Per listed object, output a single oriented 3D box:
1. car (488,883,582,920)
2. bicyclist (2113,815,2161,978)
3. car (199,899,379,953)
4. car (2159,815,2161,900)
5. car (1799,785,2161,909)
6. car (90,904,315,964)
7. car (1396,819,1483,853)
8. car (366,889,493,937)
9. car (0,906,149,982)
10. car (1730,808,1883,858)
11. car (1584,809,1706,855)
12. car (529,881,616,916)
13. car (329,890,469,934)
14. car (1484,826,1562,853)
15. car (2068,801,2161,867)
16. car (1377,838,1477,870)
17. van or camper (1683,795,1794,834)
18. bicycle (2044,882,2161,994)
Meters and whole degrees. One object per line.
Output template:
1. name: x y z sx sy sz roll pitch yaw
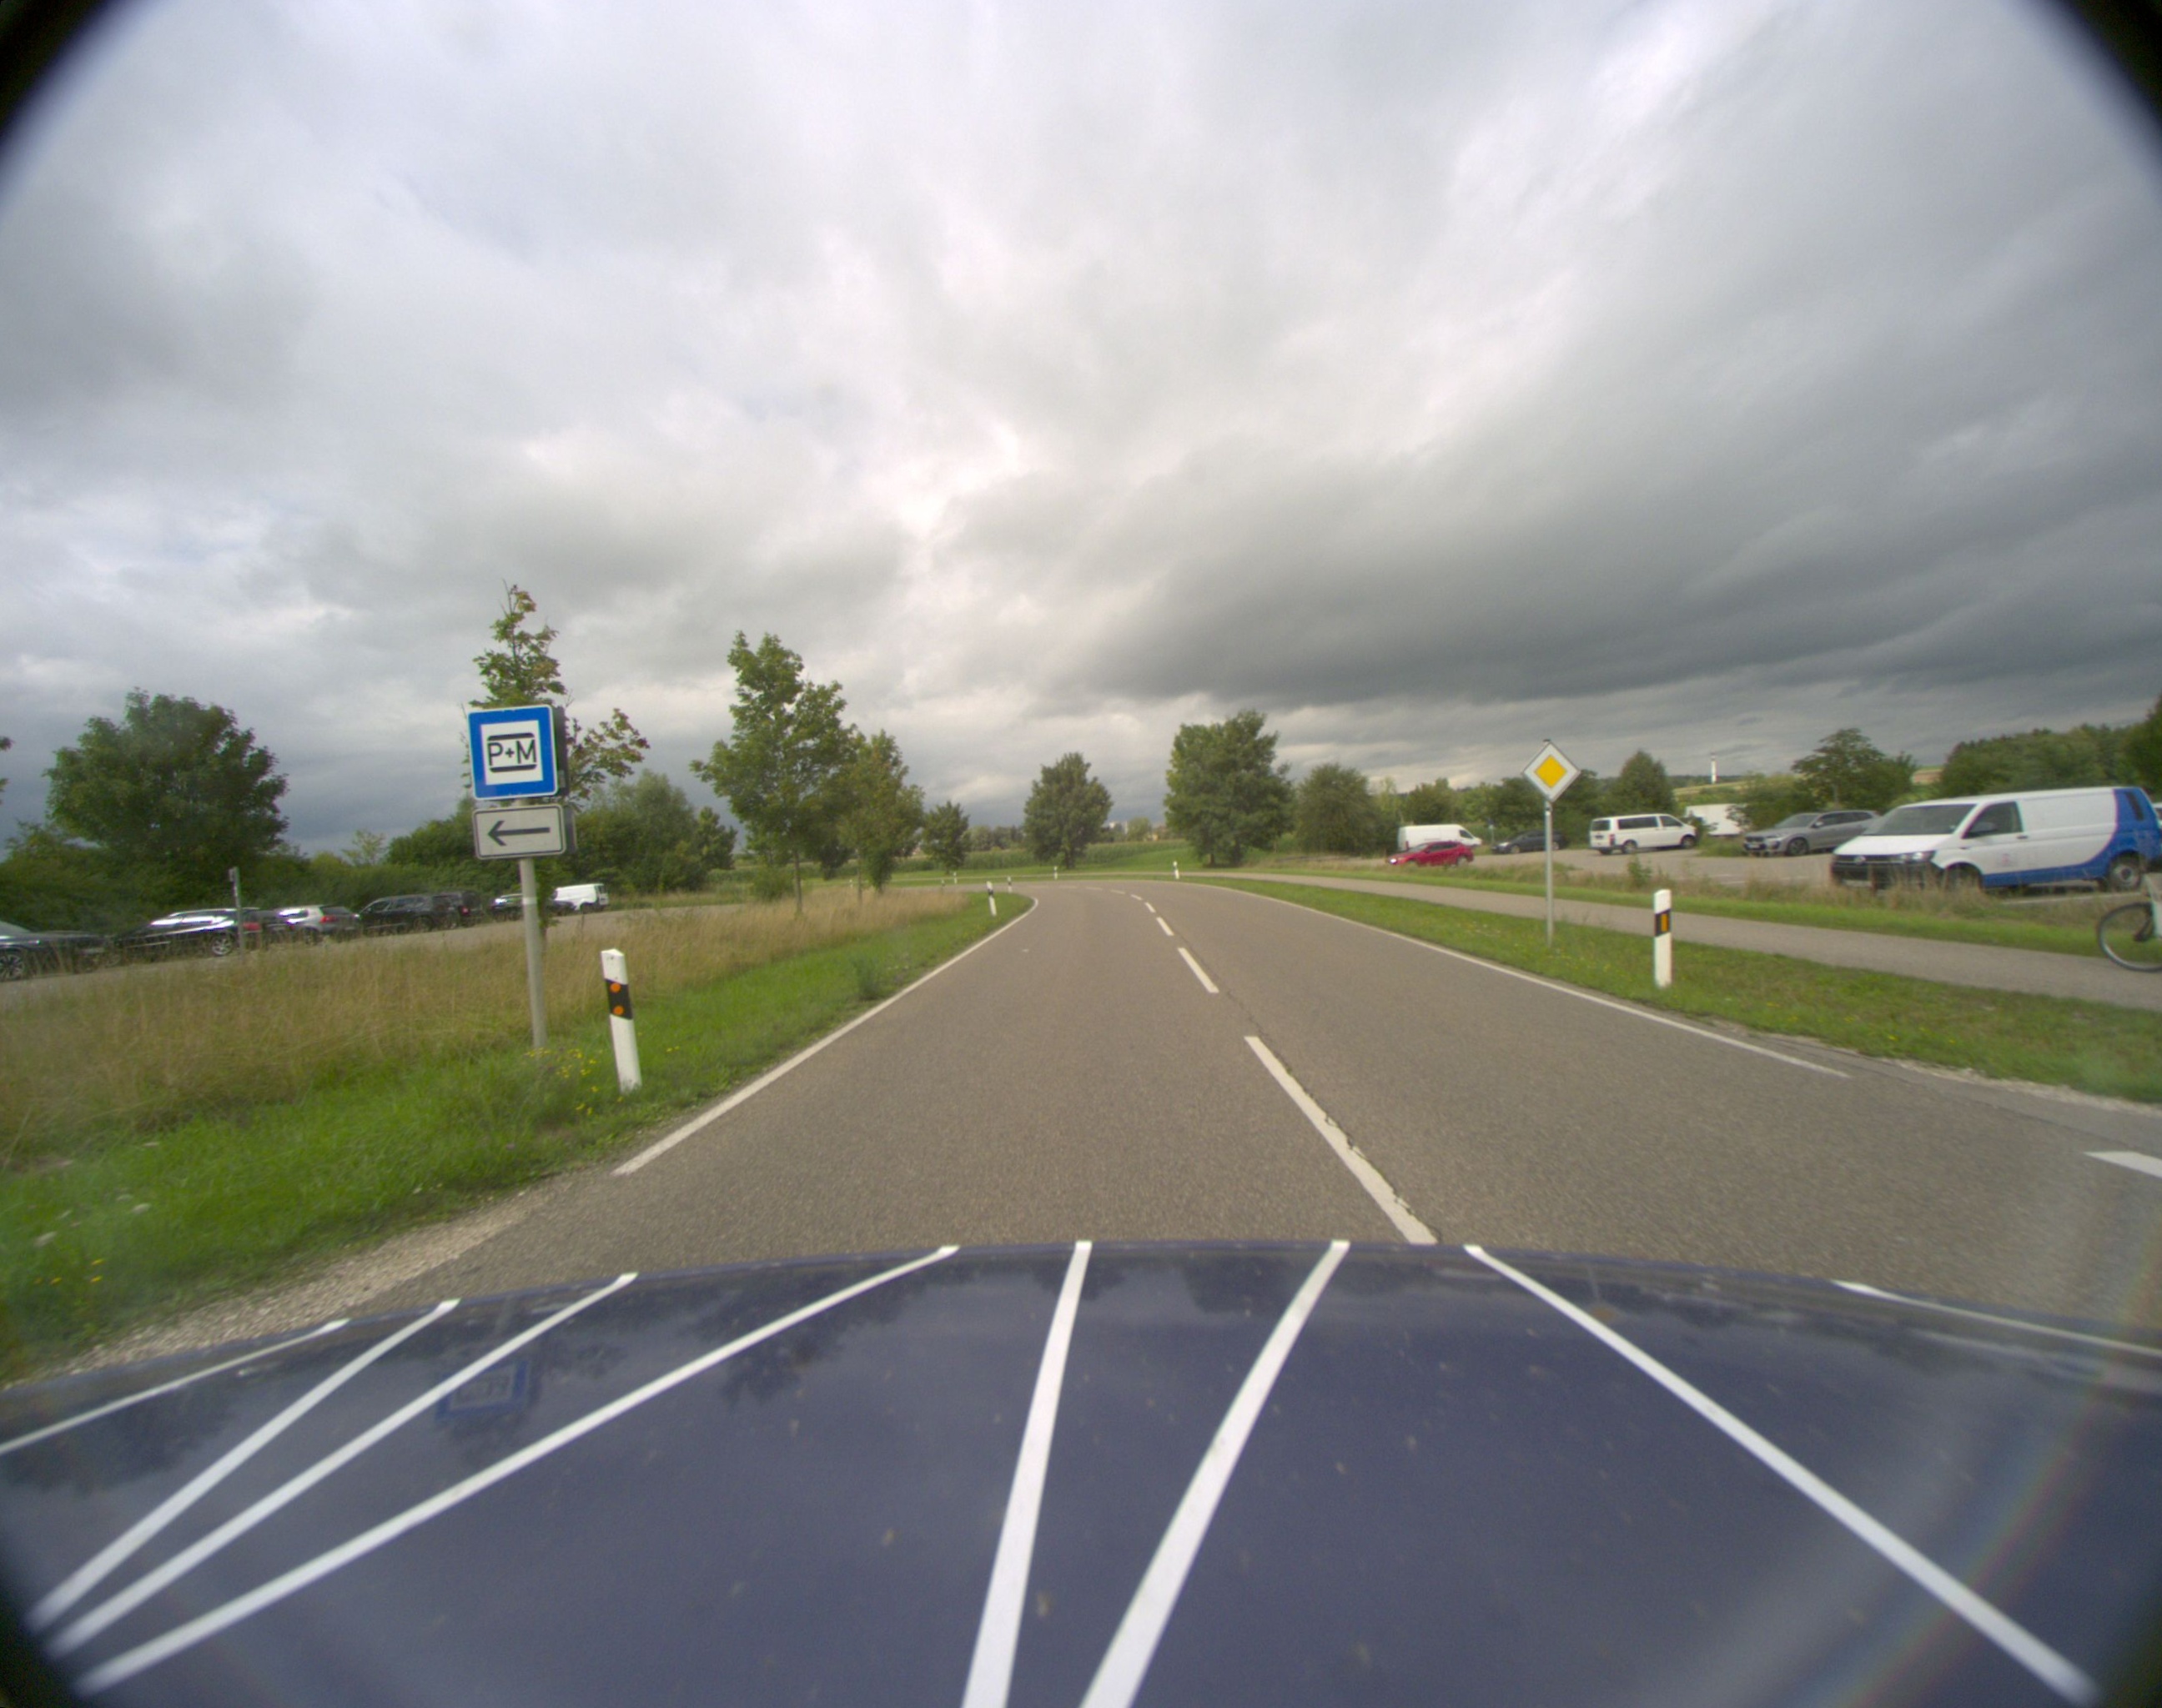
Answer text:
1. car: -31.918 2.757 44.523 4.001 1.849 1.743 -3 1 -12
2. bicyclist: 10.728 0.396 7.048 0.832 1.556 1.056 -3 1 5
3. car: -28.517 2.575 27.515 4.010 1.496 2.050 -3 1 -10
4. car: 17.757 0.119 9.979 4.258 1.585 2.000 -3 0 1
5. car: 17.482 -0.133 14.843 4.906 2.002 2.056 -3 0 0
6. car: -27.644 2.483 24.108 4.168 1.406 1.997 -3 1 -16
7. car: 31.039 -1.532 65.923 6.330 2.604 2.201 -3 1 1
8. car: -30.749 2.749 36.002 4.001 1.849 1.998 -3 1 -12
9. car: -26.328 2.254 18.293 4.495 1.572 1.997 -3 1 -16
10. car: 28.233 -0.807 29.672 3.997 1.543 1.966 -5 0 1
11. car: 29.190 -1.115 39.411 4.693 1.914 2.061 -5 1 -1
12. car: -31.870 2.748 47.717 4.001 1.849 1.998 -3 1 -12
13. car: -29.661 2.491 33.218 4.002 1.488 1.997 -3 1 -16
14. car: 28.953 -0.935 49.821 3.997 1.516 1.793 -4 1 -1
15. car: 28.615 -0.611 19.623 3.999 1.543 1.964 -4 0 -6
16. car: 18.076 0.005 39.872 4.375 1.408 1.813 -3 0 1
17. van or camper: 48.753 -2.896 56.435 6.043 2.333 2.286 -5 1 3
18. bicycle: 10.836 0.839 7.222 0.637 1.026 2.191 -3 0 3
